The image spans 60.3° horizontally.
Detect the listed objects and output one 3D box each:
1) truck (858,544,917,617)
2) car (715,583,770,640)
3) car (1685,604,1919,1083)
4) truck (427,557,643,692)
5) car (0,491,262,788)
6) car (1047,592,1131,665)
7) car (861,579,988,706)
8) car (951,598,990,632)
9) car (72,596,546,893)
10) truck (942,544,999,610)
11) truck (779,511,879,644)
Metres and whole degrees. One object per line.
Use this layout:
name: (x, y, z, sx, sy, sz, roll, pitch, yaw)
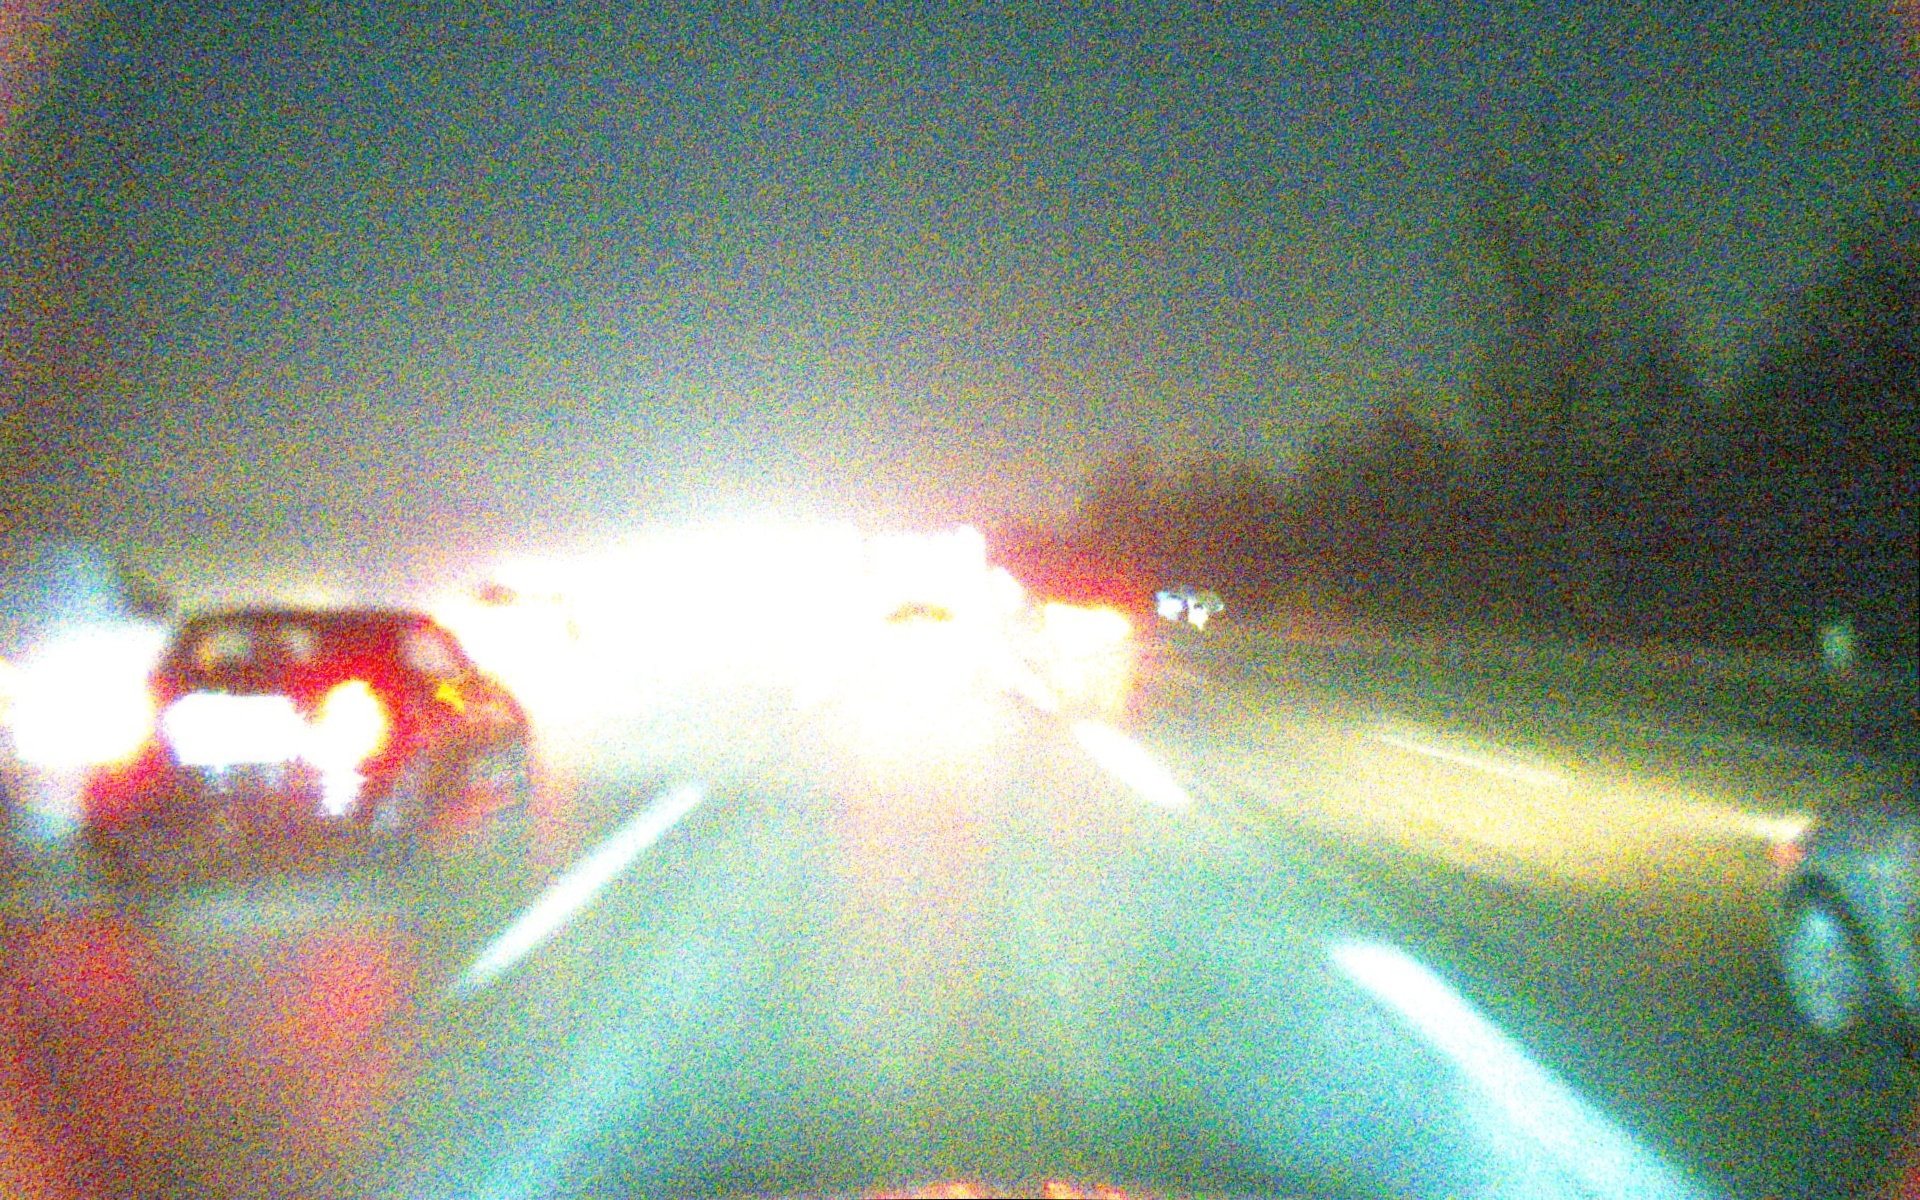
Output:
truck: (-5.748, -1.461, 133.347, 4.167, 5.539, 10.884, 1, -1, 0)
car: (-9.288, 0.504, 70.681, 2.221, 2.313, 5.376, 1, 0, -7)
car: (3.886, 0.771, 4.627, 1.734, 1.483, 4.193, 0, 0, -3)
truck: (-7.717, 0.435, 30.778, 2.801, 2.239, 5.854, 1, 0, -4)
car: (-8.009, 0.281, 13.795, 2.080, 2.141, 5.627, 1, 0, -1)
car: (3.341, 0.733, 43.443, 1.839, 1.793, 3.999, 1, 0, 0)
car: (-0.499, 0.570, 24.675, 1.729, 1.719, 4.000, 0, 0, 0)
car: (0.528, 0.785, 87.704, 1.953, 1.733, 4.457, 1, 0, -1)
car: (-3.797, 0.723, 10.445, 1.624, 1.456, 4.242, 0, 0, -5)
truck: (0.795, -1.859, 139.300, 4.079, 5.306, 9.946, 1, -1, -4)
truck: (-5.233, -0.780, 65.591, 3.585, 4.820, 9.841, 1, 0, -5)
